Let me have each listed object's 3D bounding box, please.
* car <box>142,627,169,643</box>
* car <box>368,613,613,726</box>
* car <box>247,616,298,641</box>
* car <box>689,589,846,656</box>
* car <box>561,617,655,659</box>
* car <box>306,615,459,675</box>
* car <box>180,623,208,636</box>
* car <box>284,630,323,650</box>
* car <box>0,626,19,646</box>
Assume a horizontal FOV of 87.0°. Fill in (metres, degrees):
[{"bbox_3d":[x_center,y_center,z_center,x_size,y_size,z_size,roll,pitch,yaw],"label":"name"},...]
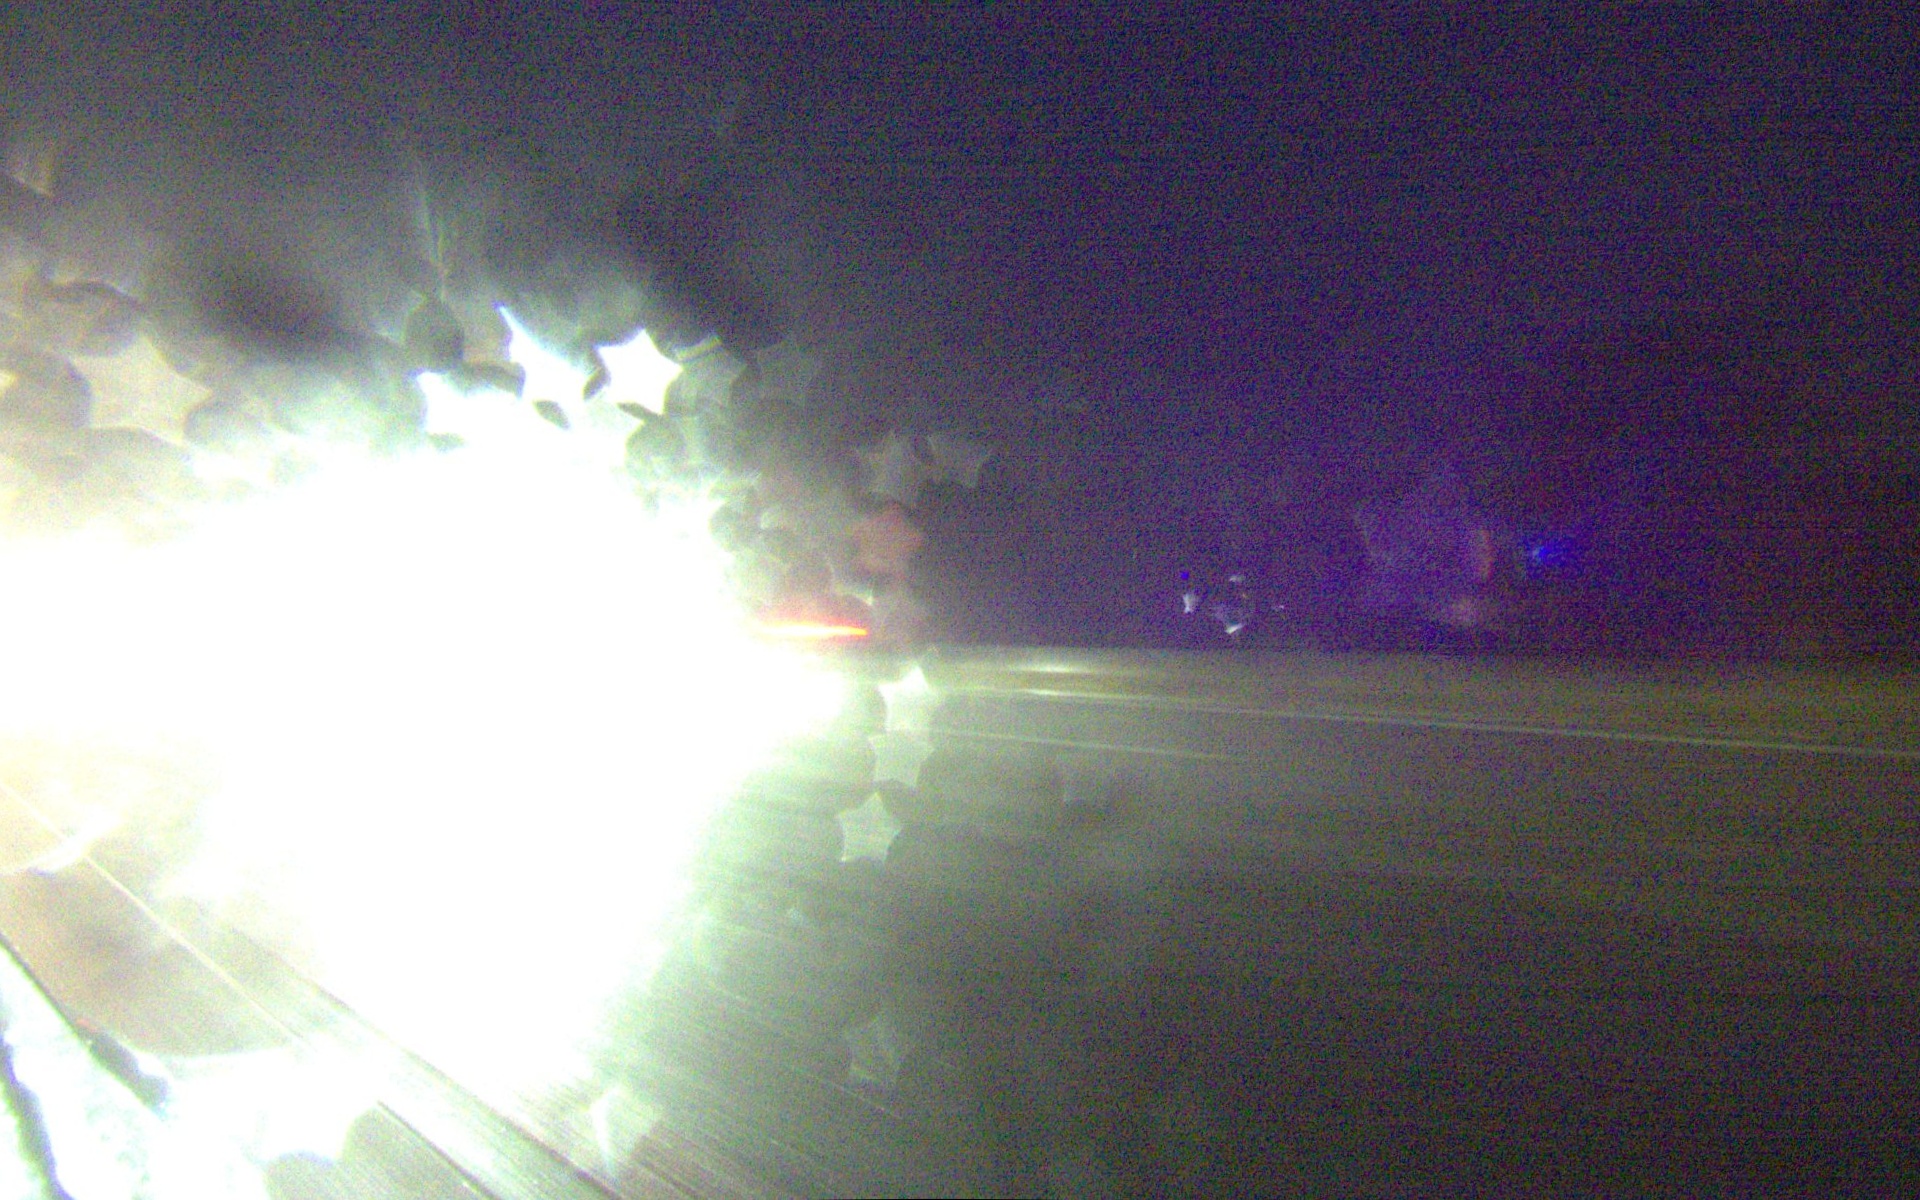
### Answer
[{"bbox_3d":[-97.576,4.223,122.727,4.562,1.734,1.860,-1,0,42],"label":"car"},{"bbox_3d":[-7.237,0.947,15.446,3.998,1.452,1.973,-1,0,41],"label":"car"},{"bbox_3d":[-50.821,2.095,74.803,4.557,1.734,1.862,-1,0,39],"label":"car"},{"bbox_3d":[-5.866,0.635,30.490,5.056,1.857,1.861,-1,0,40],"label":"car"},{"bbox_3d":[-15.740,1.663,45.181,4.558,1.734,1.861,-1,0,39],"label":"car"},{"bbox_3d":[-16.239,1.181,28.331,5.159,1.487,1.974,-1,0,39],"label":"car"},{"bbox_3d":[-95.071,3.646,125.601,3.892,1.444,1.861,-1,0,40],"label":"car"},{"bbox_3d":[-62.114,3.733,95.764,4.559,1.734,1.861,-1,0,40],"label":"car"},{"bbox_3d":[-80.817,3.054,85.177,4.586,1.572,1.972,-1,0,42],"label":"car"}]
